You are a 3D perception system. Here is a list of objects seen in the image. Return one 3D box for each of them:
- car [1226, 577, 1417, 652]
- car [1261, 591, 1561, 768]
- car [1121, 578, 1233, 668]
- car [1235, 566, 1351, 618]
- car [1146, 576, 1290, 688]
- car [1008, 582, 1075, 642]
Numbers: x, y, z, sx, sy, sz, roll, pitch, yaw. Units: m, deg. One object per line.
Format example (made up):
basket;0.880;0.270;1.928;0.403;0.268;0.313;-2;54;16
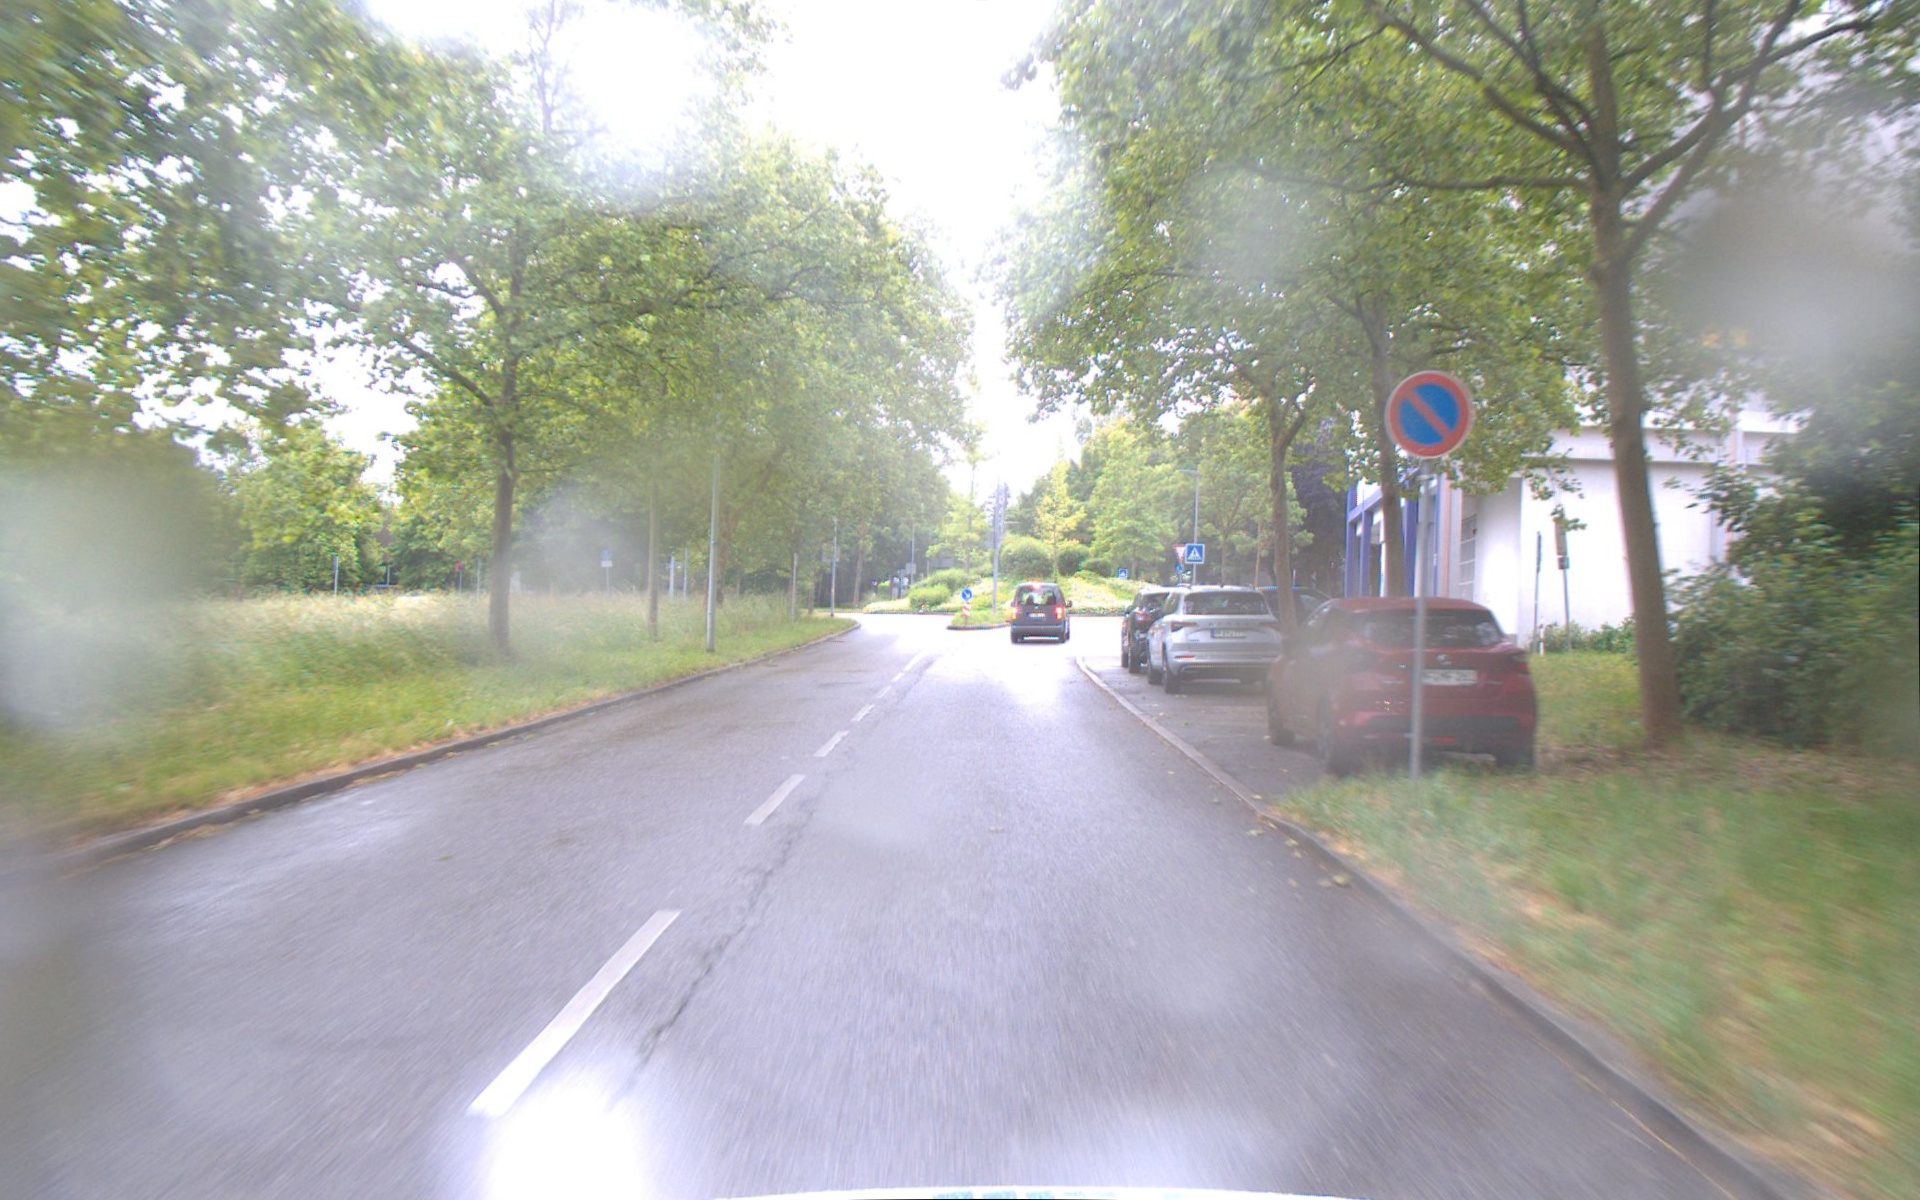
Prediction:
car;8.922;0.336;41.117;4.377;1.709;1.768;1;1;3
car;3.894;0.625;14.903;1.760;1.396;3.744;0;0;1
car;4.168;0.425;32.289;1.764;1.630;4.372;0;0;2
car;13.079;-0.336;65.096;4.284;1.789;1.831;3;3;7
car;3.982;0.462;26.167;1.692;1.619;4.253;-1;0;1
car;2.637;0.354;52.883;1.877;1.832;3.793;-1;1;6
